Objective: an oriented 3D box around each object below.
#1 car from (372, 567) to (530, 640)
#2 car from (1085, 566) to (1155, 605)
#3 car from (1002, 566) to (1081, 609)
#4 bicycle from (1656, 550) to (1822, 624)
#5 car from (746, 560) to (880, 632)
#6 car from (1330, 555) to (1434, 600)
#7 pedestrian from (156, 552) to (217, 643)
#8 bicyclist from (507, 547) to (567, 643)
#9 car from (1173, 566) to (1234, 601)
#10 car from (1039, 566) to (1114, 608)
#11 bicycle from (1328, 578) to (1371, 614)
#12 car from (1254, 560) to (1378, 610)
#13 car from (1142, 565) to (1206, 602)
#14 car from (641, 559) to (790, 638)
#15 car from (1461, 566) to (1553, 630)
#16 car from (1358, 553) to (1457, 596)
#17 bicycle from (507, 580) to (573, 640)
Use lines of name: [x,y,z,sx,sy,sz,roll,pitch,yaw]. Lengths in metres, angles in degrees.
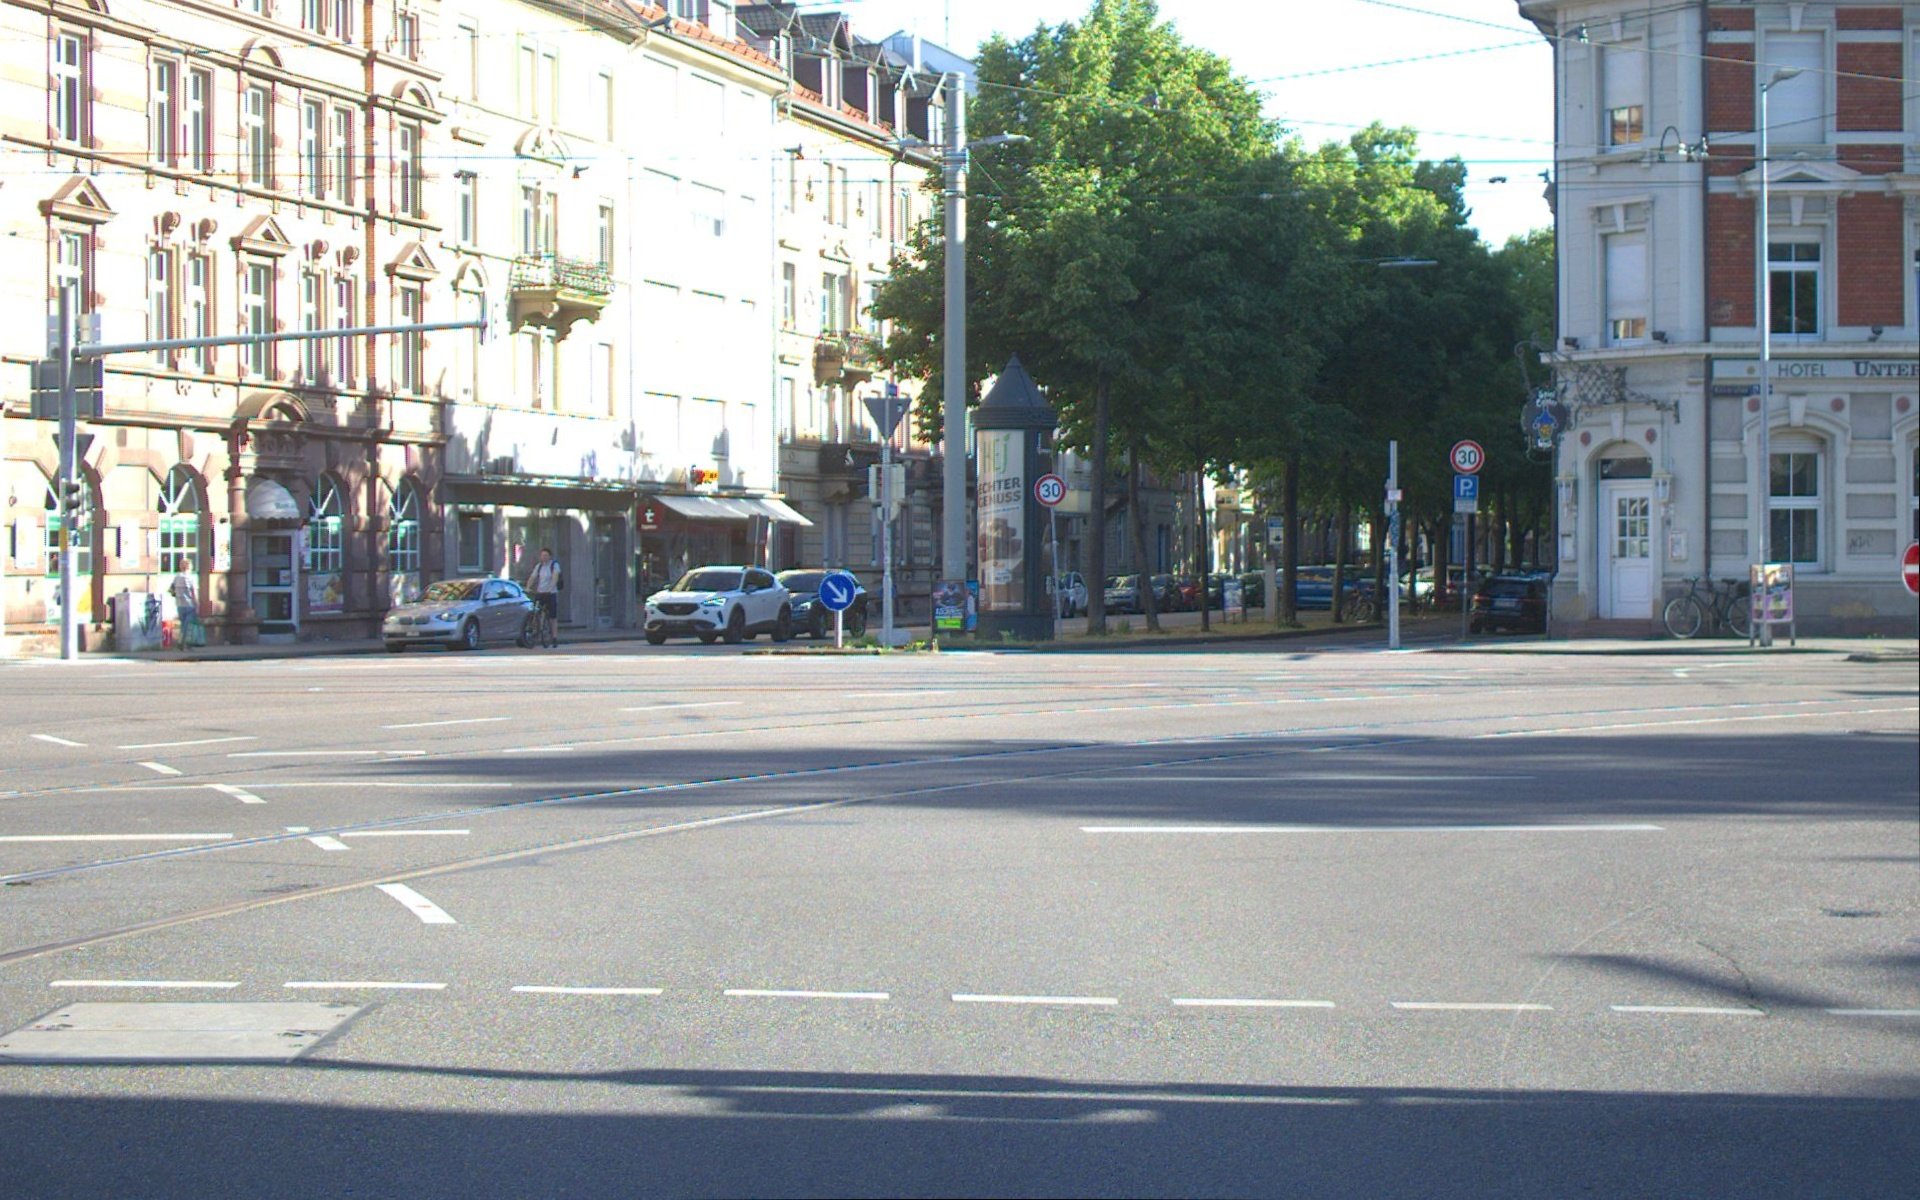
car: [-9.867,0.051,66.904,1.678,1.349,3.588,0,1,17]
car: [5.710,-0.517,122.435,1.678,1.349,3.588,0,1,17]
car: [2.642,-0.407,111.317,1.678,1.349,3.588,0,1,17]
bicycle: [12.974,-0.211,57.269,2.554,1.170,0.819,1,0,-3]
car: [-3.115,-0.106,73.609,1.678,1.478,3.945,0,1,17]
car: [15.719,-0.854,128.027,3.582,1.642,1.681,0,1,17]
pedestrian: [-14.269,-0.053,63.401,0.776,1.664,0.830,1,0,15]
bicyclist: [-8.010,-0.092,65.133,0.779,1.797,1.055,1,0,14]
car: [9.619,-0.661,135.772,1.678,1.349,3.588,0,1,17]
car: [3.939,-0.450,115.473,1.678,1.349,3.588,0,1,17]
bicycle: [11.267,-0.110,99.478,0.636,1.018,1.847,1,1,-14]
car: [11.997,-0.516,115.672,3.905,1.642,1.681,0,1,17]
car: [8.147,-0.622,130.741,1.678,1.349,3.588,0,1,17]
car: [-4.757,-0.056,67.308,1.678,1.478,3.768,0,1,17]
car: [13.155,-0.062,82.568,1.678,1.478,3.945,0,1,17]
car: [17.394,-1.008,133.500,3.582,1.642,1.681,0,1,17]
bicycle: [-7.974,0.181,65.259,0.702,1.114,1.634,1,1,13]
